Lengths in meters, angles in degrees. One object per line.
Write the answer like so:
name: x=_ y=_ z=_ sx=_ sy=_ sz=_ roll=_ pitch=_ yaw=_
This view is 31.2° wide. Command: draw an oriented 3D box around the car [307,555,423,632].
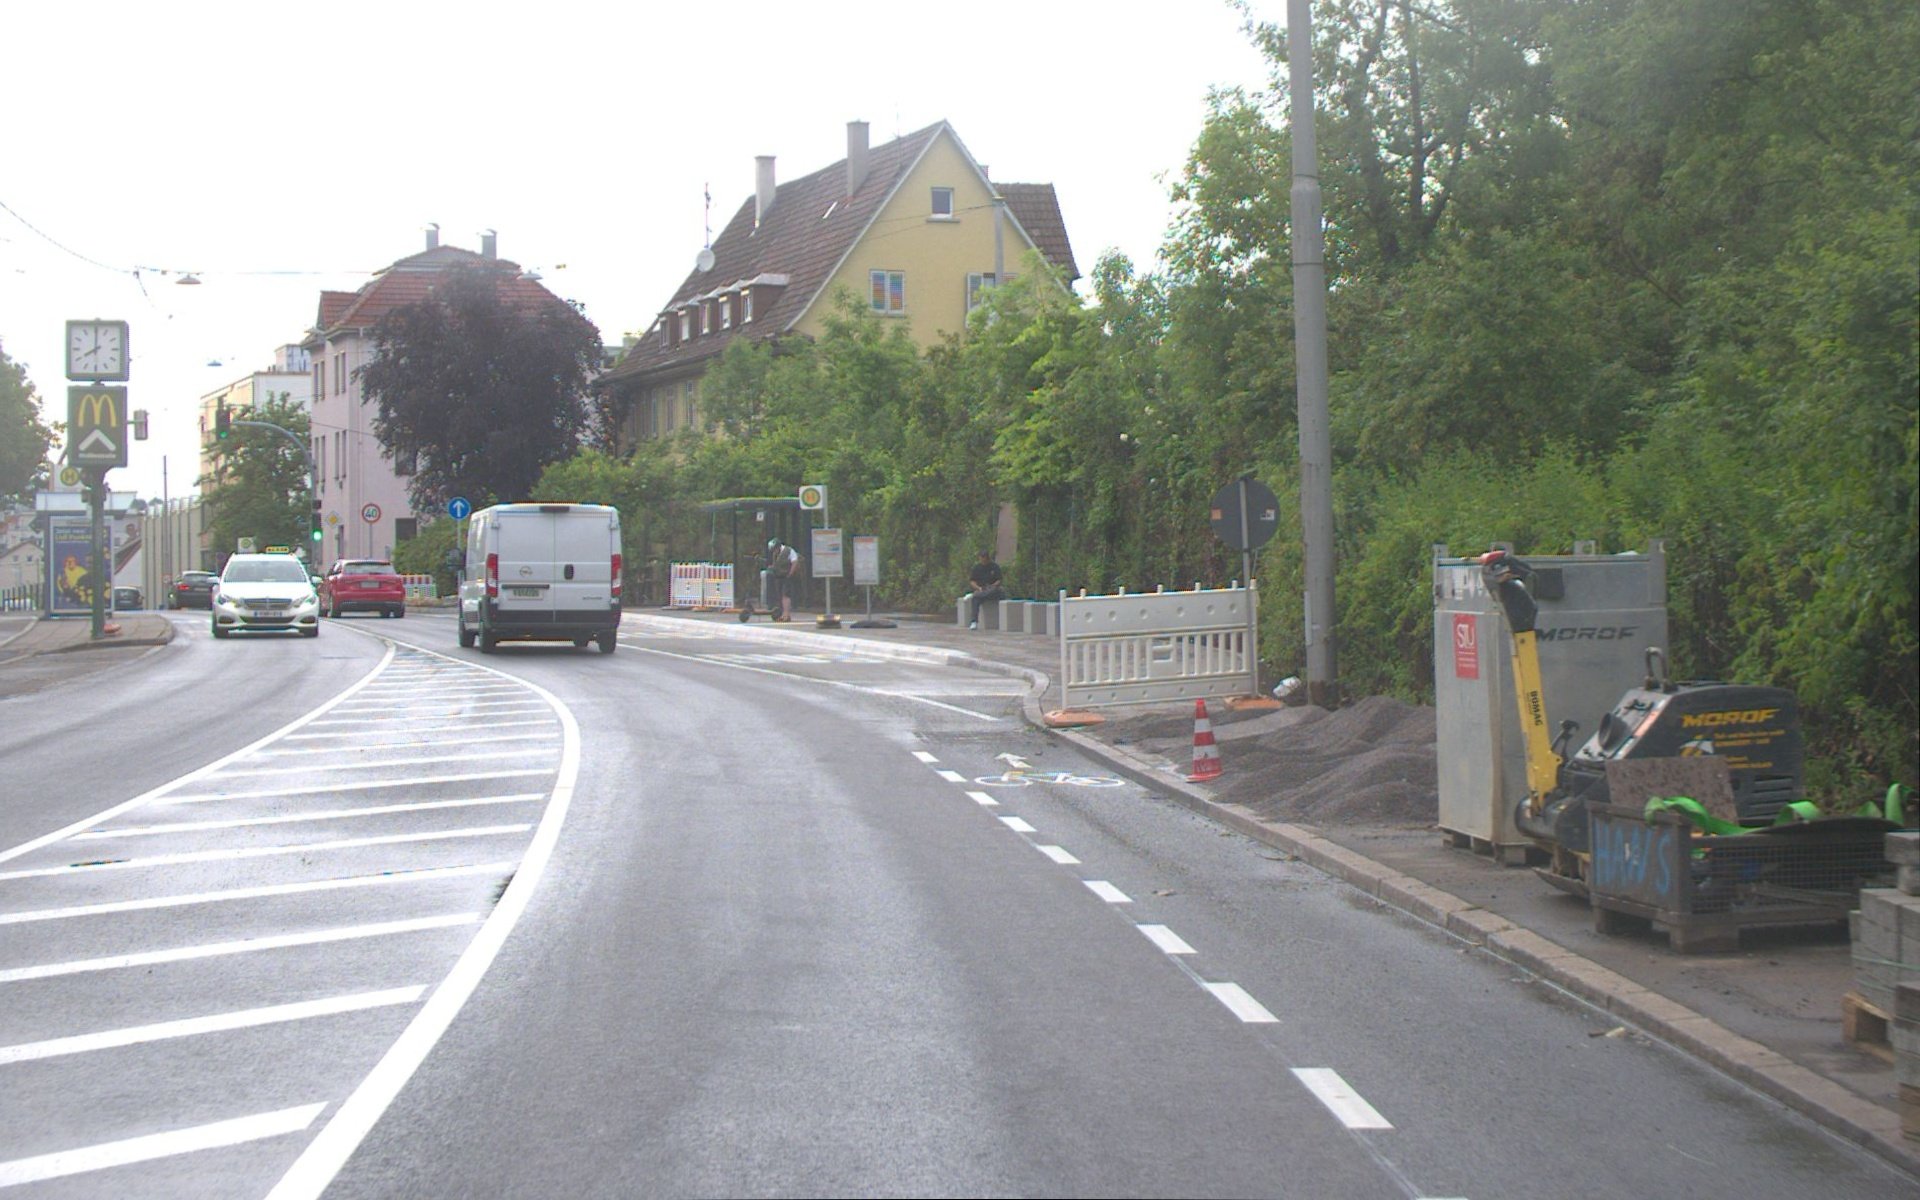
car: x=-14.504 y=-0.184 z=83.638 sx=2.237 sy=1.651 sz=4.715 roll=1 pitch=3 yaw=-16

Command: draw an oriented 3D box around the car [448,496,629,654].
car: x=-6.533 y=-0.432 z=52.810 sx=2.237 sy=2.205 sz=4.715 roll=1 pitch=2 yaw=-13

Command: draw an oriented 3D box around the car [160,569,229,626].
car: x=-27.522 y=-0.117 z=123.559 sx=2.237 sy=1.798 sz=4.715 roll=1 pitch=2 yaw=-15

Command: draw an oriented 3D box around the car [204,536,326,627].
car: x=-12.728 y=-0.324 z=62.786 sx=1.928 sy=1.550 sz=4.621 roll=1 pitch=0 yaw=-14

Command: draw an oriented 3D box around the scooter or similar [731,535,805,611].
scooter or similar: x=-3.739 y=-0.533 z=66.992 sx=0.497 sy=1.401 sz=1.552 roll=3 pitch=5 yaw=41

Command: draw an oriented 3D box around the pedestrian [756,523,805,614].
pedestrian: x=-3.483 y=-0.612 z=66.847 sx=0.905 sy=1.725 sz=0.654 roll=1 pitch=2 yaw=-2

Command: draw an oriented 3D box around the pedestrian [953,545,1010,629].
pedestrian: x=0.363 y=-0.225 z=58.334 sx=0.879 sy=1.362 sz=1.066 roll=1 pitch=2 yaw=-3
